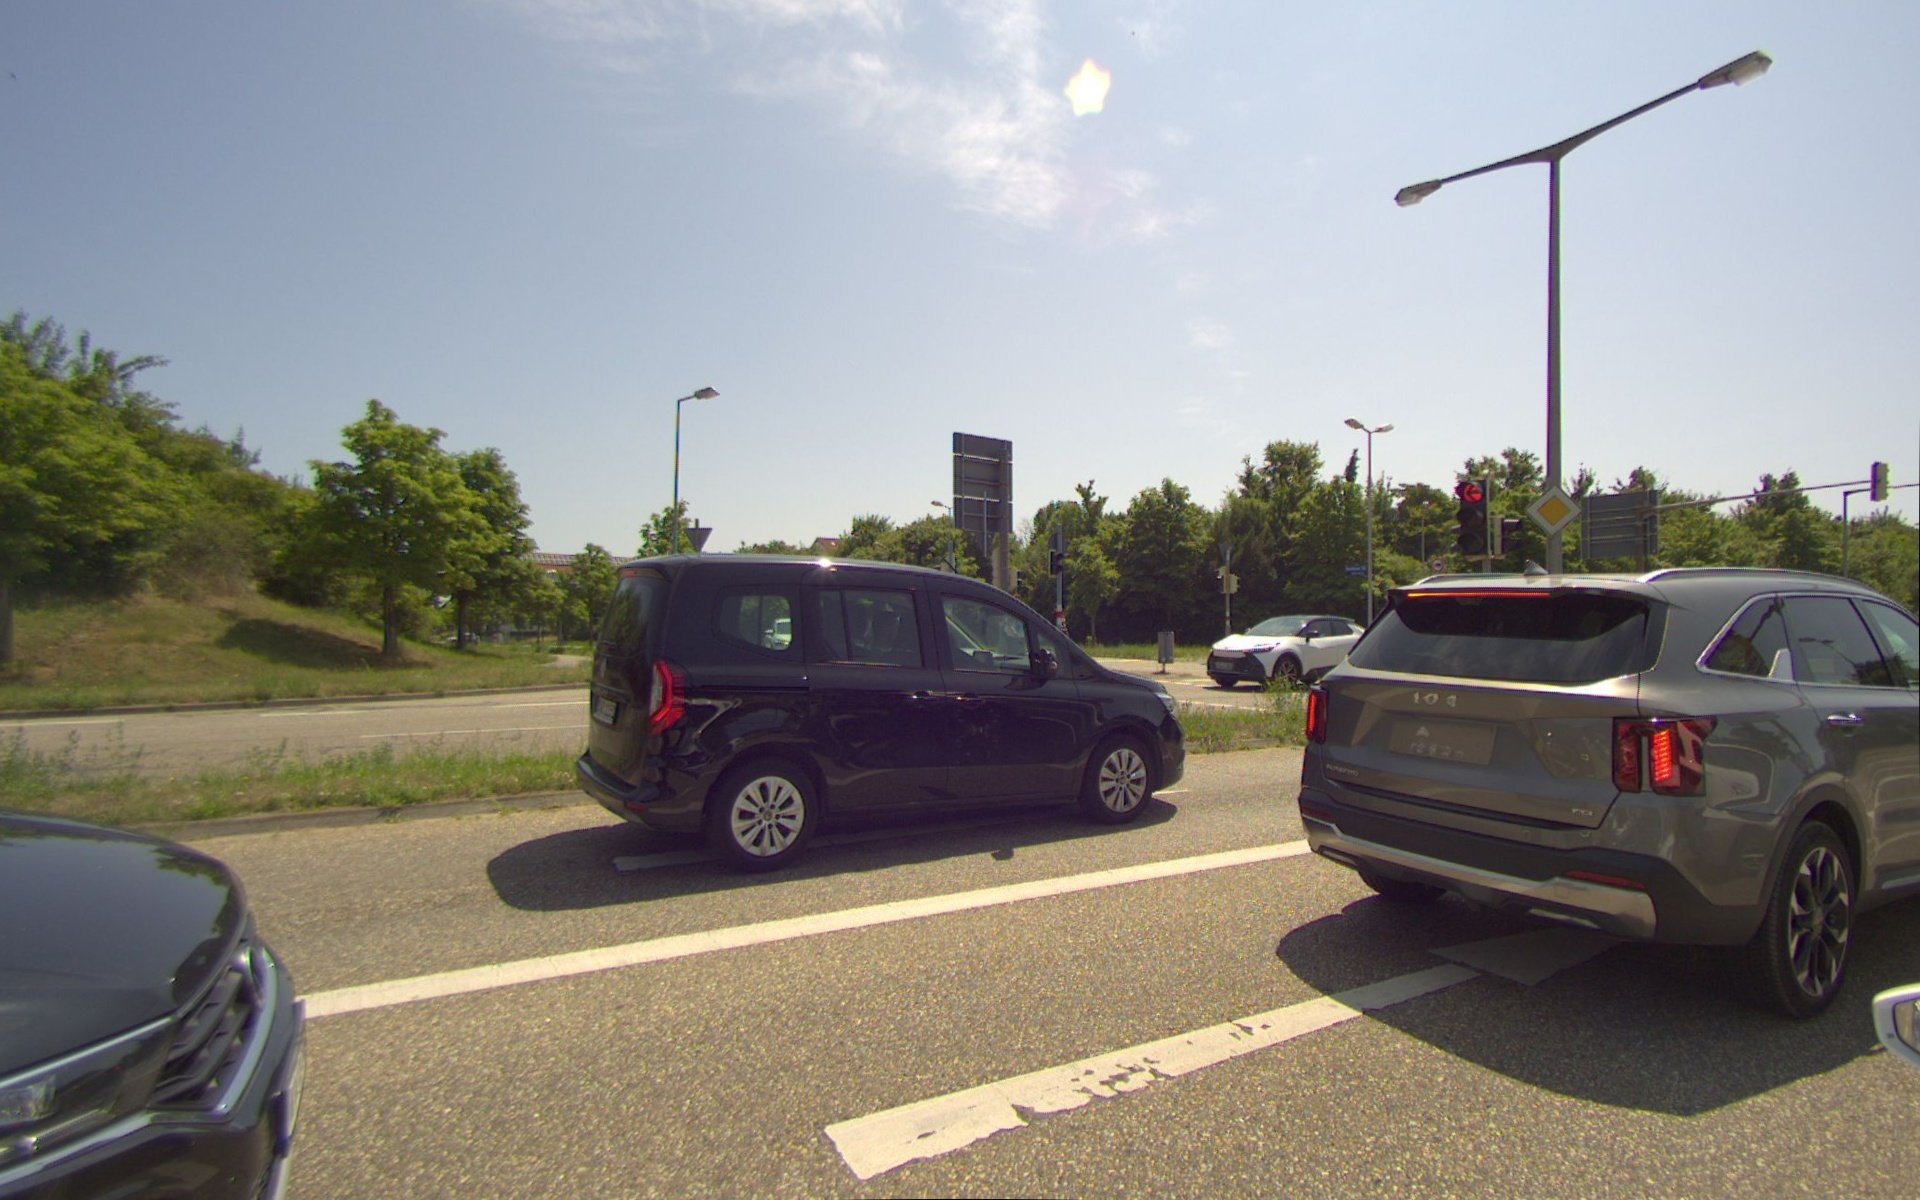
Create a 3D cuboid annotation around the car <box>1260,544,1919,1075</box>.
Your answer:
[{"bbox_3d":[3.843,0.730,5.151,4.590,1.684,1.795,1,-1,-31],"label":"car"}]

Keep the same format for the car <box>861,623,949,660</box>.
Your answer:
[{"bbox_3d":[-2.206,1.607,39.417,1.685,1.353,3.964,1,-2,-33],"label":"car"}]

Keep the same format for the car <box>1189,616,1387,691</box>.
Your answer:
[{"bbox_3d":[7.078,1.100,21.594,4.120,1.475,1.814,1,-1,-31],"label":"car"}]

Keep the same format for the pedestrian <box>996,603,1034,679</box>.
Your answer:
[{"bbox_3d":[1.306,0.970,23.793,0.779,1.759,0.582,1,-1,-11],"label":"pedestrian"}]

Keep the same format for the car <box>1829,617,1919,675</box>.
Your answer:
[{"bbox_3d":[28.783,1.388,30.891,4.168,1.685,1.701,1,-1,-27],"label":"car"}]

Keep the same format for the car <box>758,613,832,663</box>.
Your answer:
[{"bbox_3d":[-5.534,1.229,33.311,1.849,1.521,4.294,1,-1,-17],"label":"car"}]

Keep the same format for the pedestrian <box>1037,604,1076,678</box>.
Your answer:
[{"bbox_3d":[2.290,0.977,23.909,0.761,1.722,0.723,1,-1,-11],"label":"pedestrian"}]

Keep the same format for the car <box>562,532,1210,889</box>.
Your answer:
[{"bbox_3d":[-0.384,0.618,7.093,4.274,1.850,1.722,1,-1,-32],"label":"car"}]

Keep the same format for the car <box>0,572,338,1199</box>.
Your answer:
[{"bbox_3d":[-3.032,0.673,1.072,3.924,1.532,1.726,2,0,-30],"label":"car"}]
